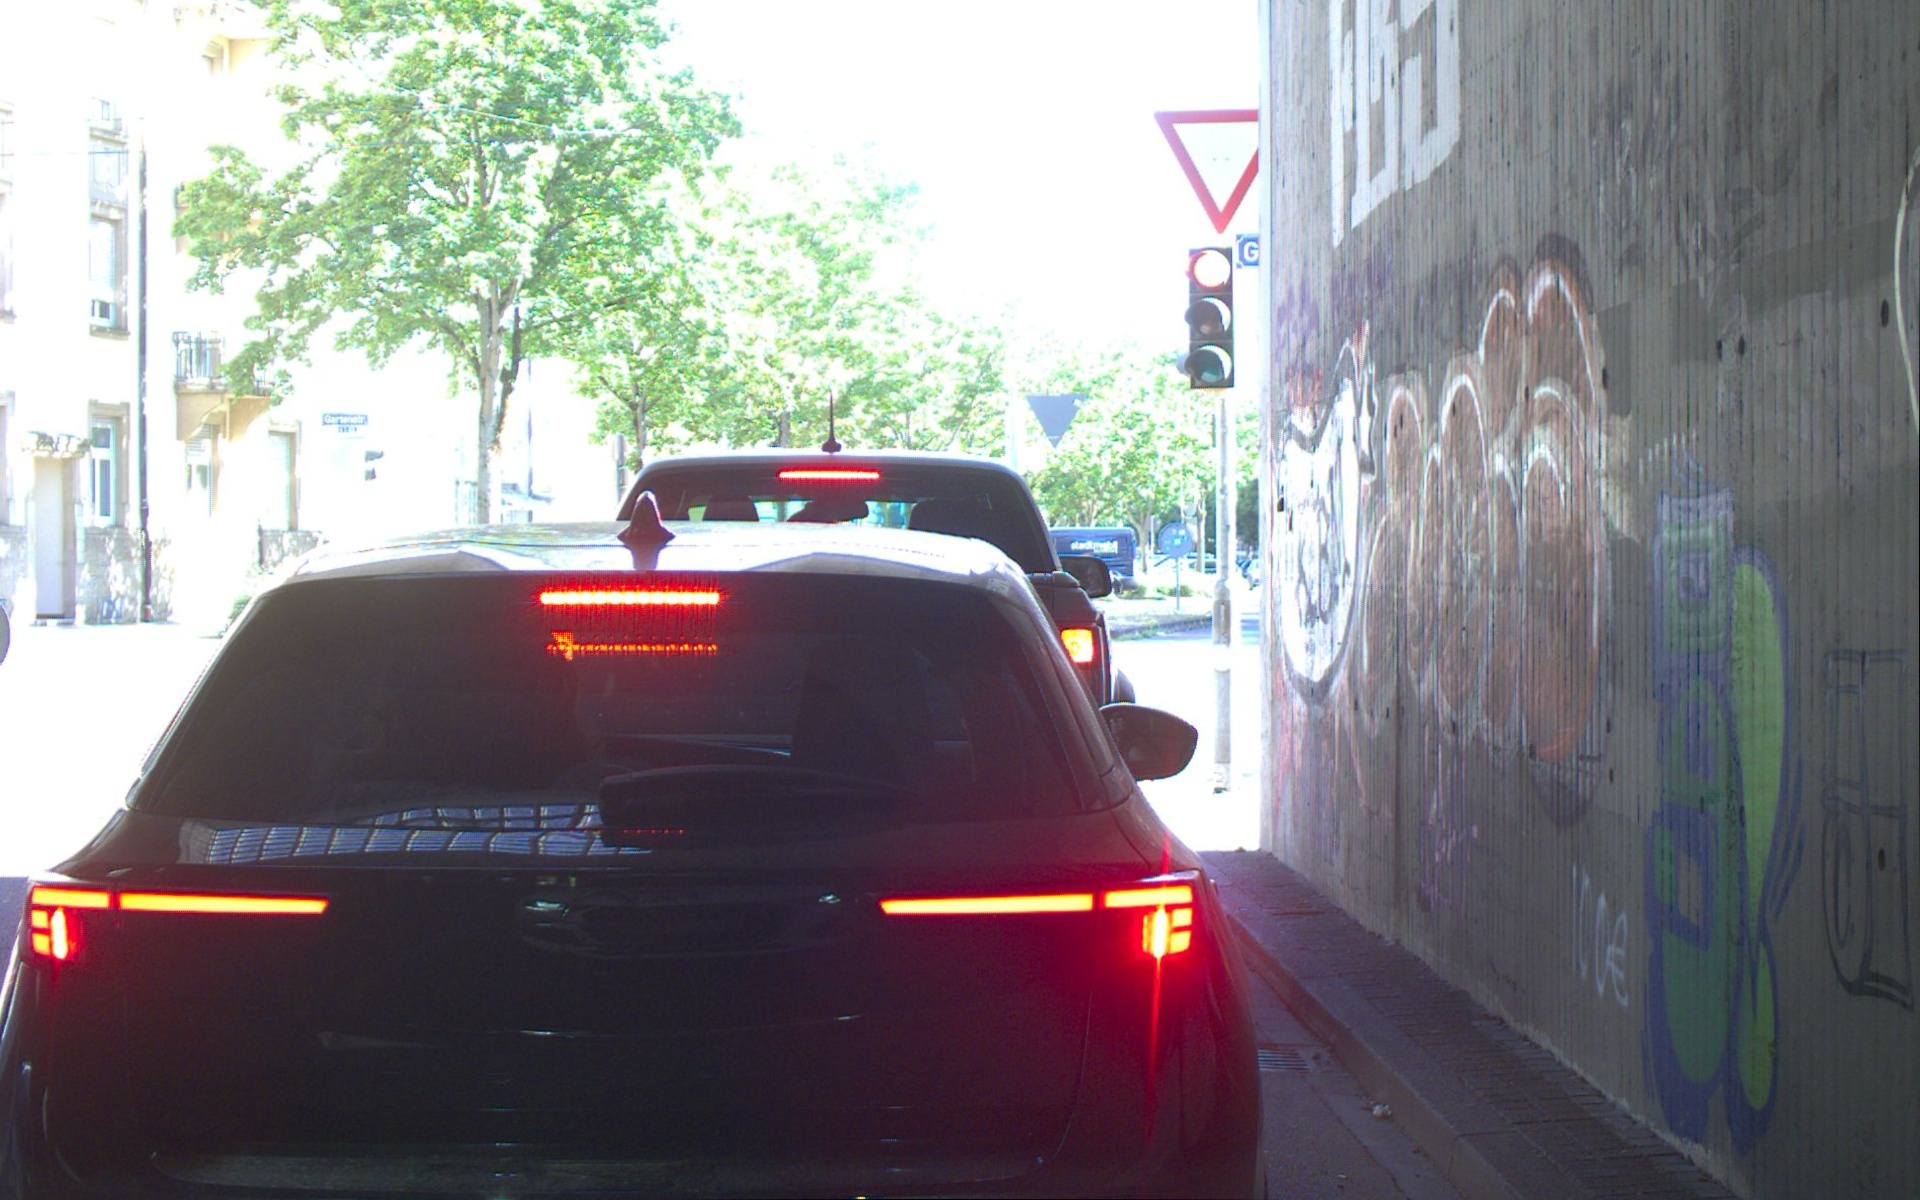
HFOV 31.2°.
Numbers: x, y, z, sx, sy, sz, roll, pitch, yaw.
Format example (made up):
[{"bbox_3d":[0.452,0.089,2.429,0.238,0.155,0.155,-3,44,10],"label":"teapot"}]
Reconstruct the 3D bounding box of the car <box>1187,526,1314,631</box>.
[{"bbox_3d":[4.798,-0.384,56.788,1.994,1.635,4.592,0,1,5],"label":"car"}]

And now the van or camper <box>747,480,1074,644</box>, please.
[{"bbox_3d":[-0.591,-0.481,43.402,3.878,2.007,2.000,0,1,7],"label":"van or camper"}]

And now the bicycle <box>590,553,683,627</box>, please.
[{"bbox_3d":[-5.072,-0.171,53.976,0.737,1.126,2.025,0,1,17],"label":"bicycle"}]

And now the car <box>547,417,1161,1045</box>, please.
[{"bbox_3d":[-0.329,0.348,12.076,1.786,1.827,3.961,1,1,0],"label":"car"}]

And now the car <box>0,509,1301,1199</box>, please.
[{"bbox_3d":[-0.485,0.608,6.150,1.753,1.493,4.000,1,1,0],"label":"car"}]

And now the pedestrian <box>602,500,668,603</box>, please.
[{"bbox_3d":[-5.100,-0.759,53.938,0.736,1.579,0.889,1,0,15],"label":"pedestrian"}]
